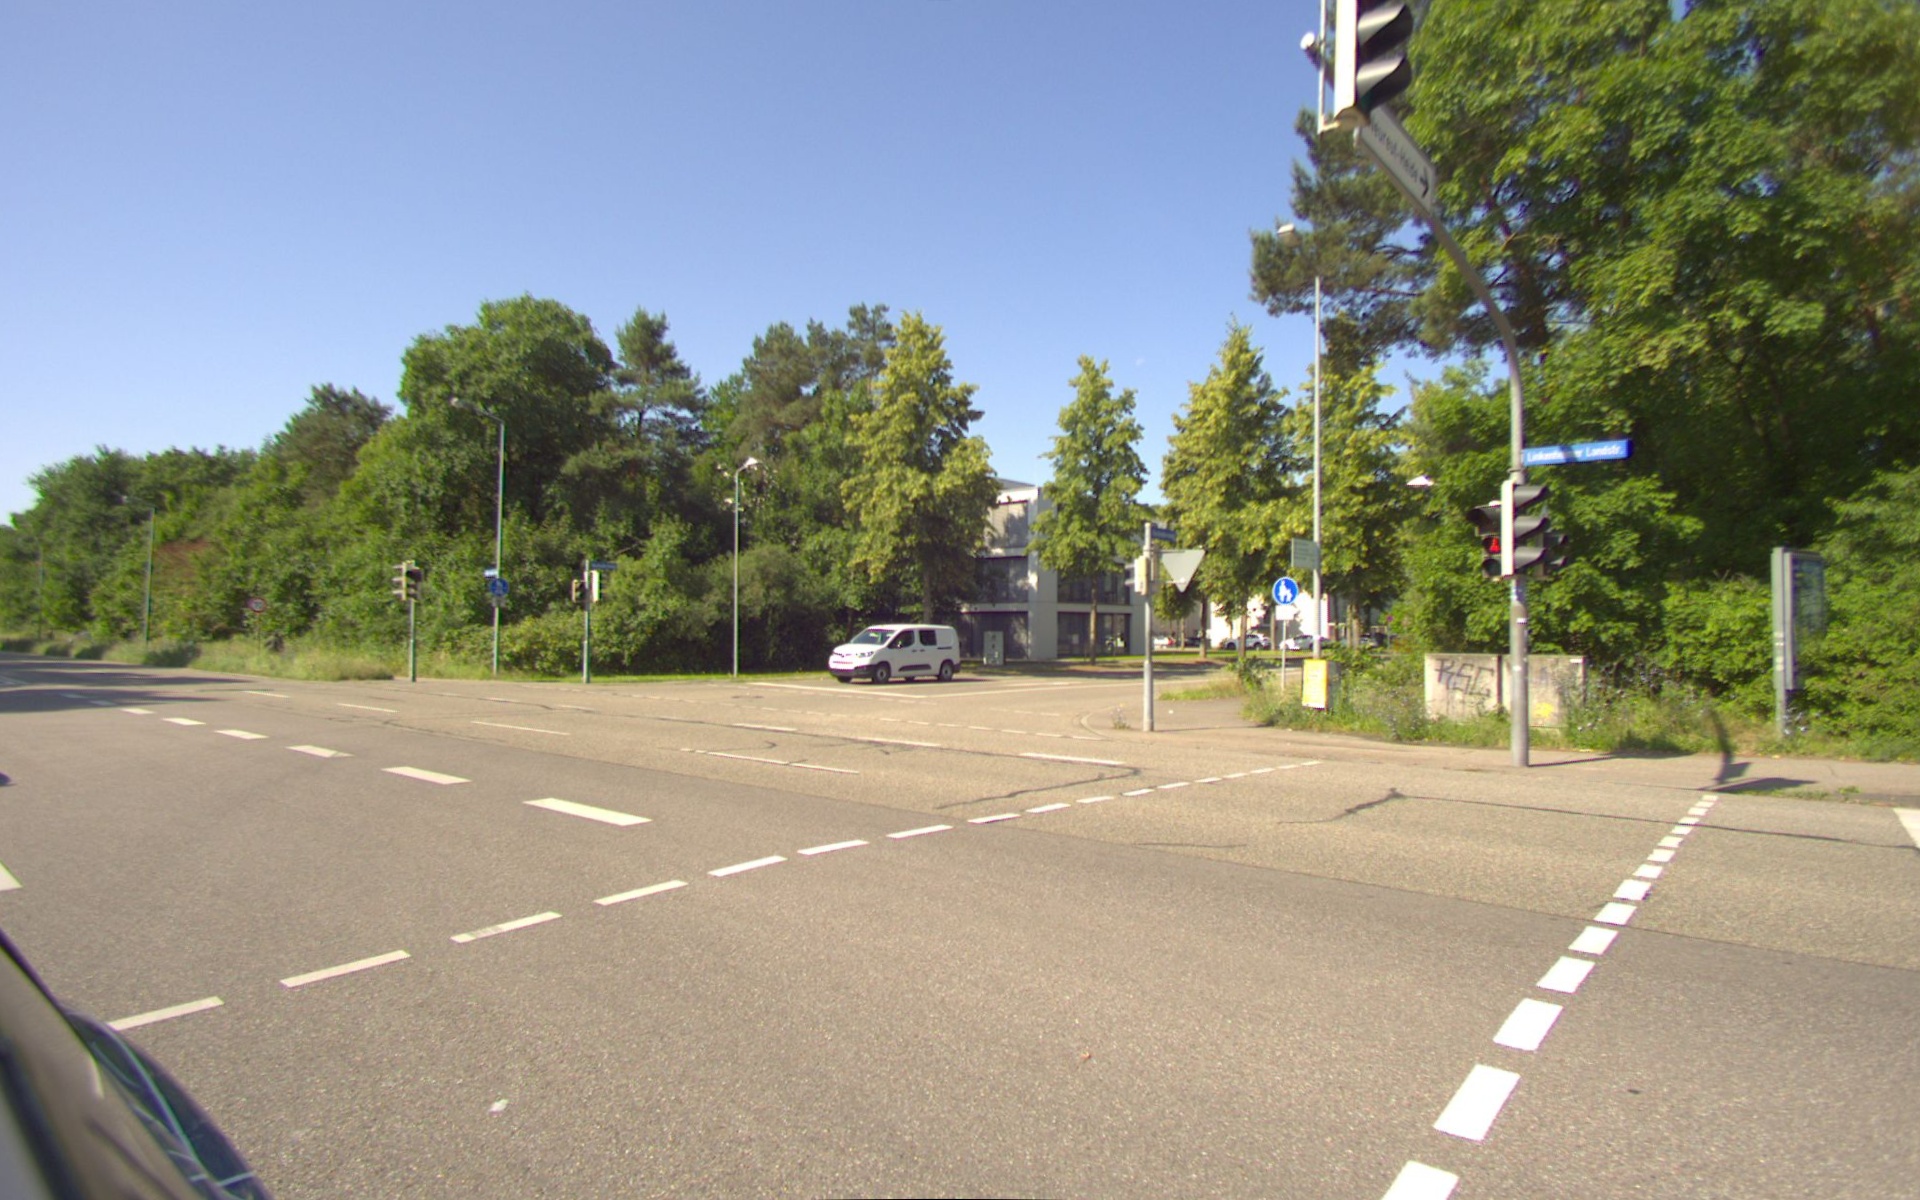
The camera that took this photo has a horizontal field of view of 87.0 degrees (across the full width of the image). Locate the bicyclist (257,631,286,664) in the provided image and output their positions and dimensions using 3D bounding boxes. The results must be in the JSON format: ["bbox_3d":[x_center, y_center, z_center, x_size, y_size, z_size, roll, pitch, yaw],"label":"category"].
[{"bbox_3d":[-28.395,1.953,41.740,0.882,1.321,0.714,-2,-3,38],"label":"bicyclist"}]

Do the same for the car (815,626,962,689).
[{"bbox_3d":[-2.124,1.768,31.349,1.851,1.791,4.598,-1,-3,40],"label":"car"}]

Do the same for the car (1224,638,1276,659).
[{"bbox_3d":[25.724,4.278,89.774,3.995,1.741,1.974,-1,0,39],"label":"car"}]

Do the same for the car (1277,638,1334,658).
[{"bbox_3d":[29.248,4.067,85.780,1.749,1.497,4.281,-1,0,-41],"label":"car"}]

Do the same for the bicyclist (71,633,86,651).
[{"bbox_3d":[-61.888,2.936,71.023,0.727,1.273,0.693,-1,0,42],"label":"bicyclist"}]

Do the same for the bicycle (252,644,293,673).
[{"bbox_3d":[-28.380,2.392,41.767,2.370,1.172,0.725,-2,-3,39],"label":"bicycle"}]

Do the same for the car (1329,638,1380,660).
[{"bbox_3d":[31.779,3.955,81.574,1.572,1.575,3.719,-1,0,-27],"label":"car"}]

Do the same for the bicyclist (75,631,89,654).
[{"bbox_3d":[-58.741,2.838,67.698,0.944,1.477,0.604,-1,0,42],"label":"bicyclist"}]
